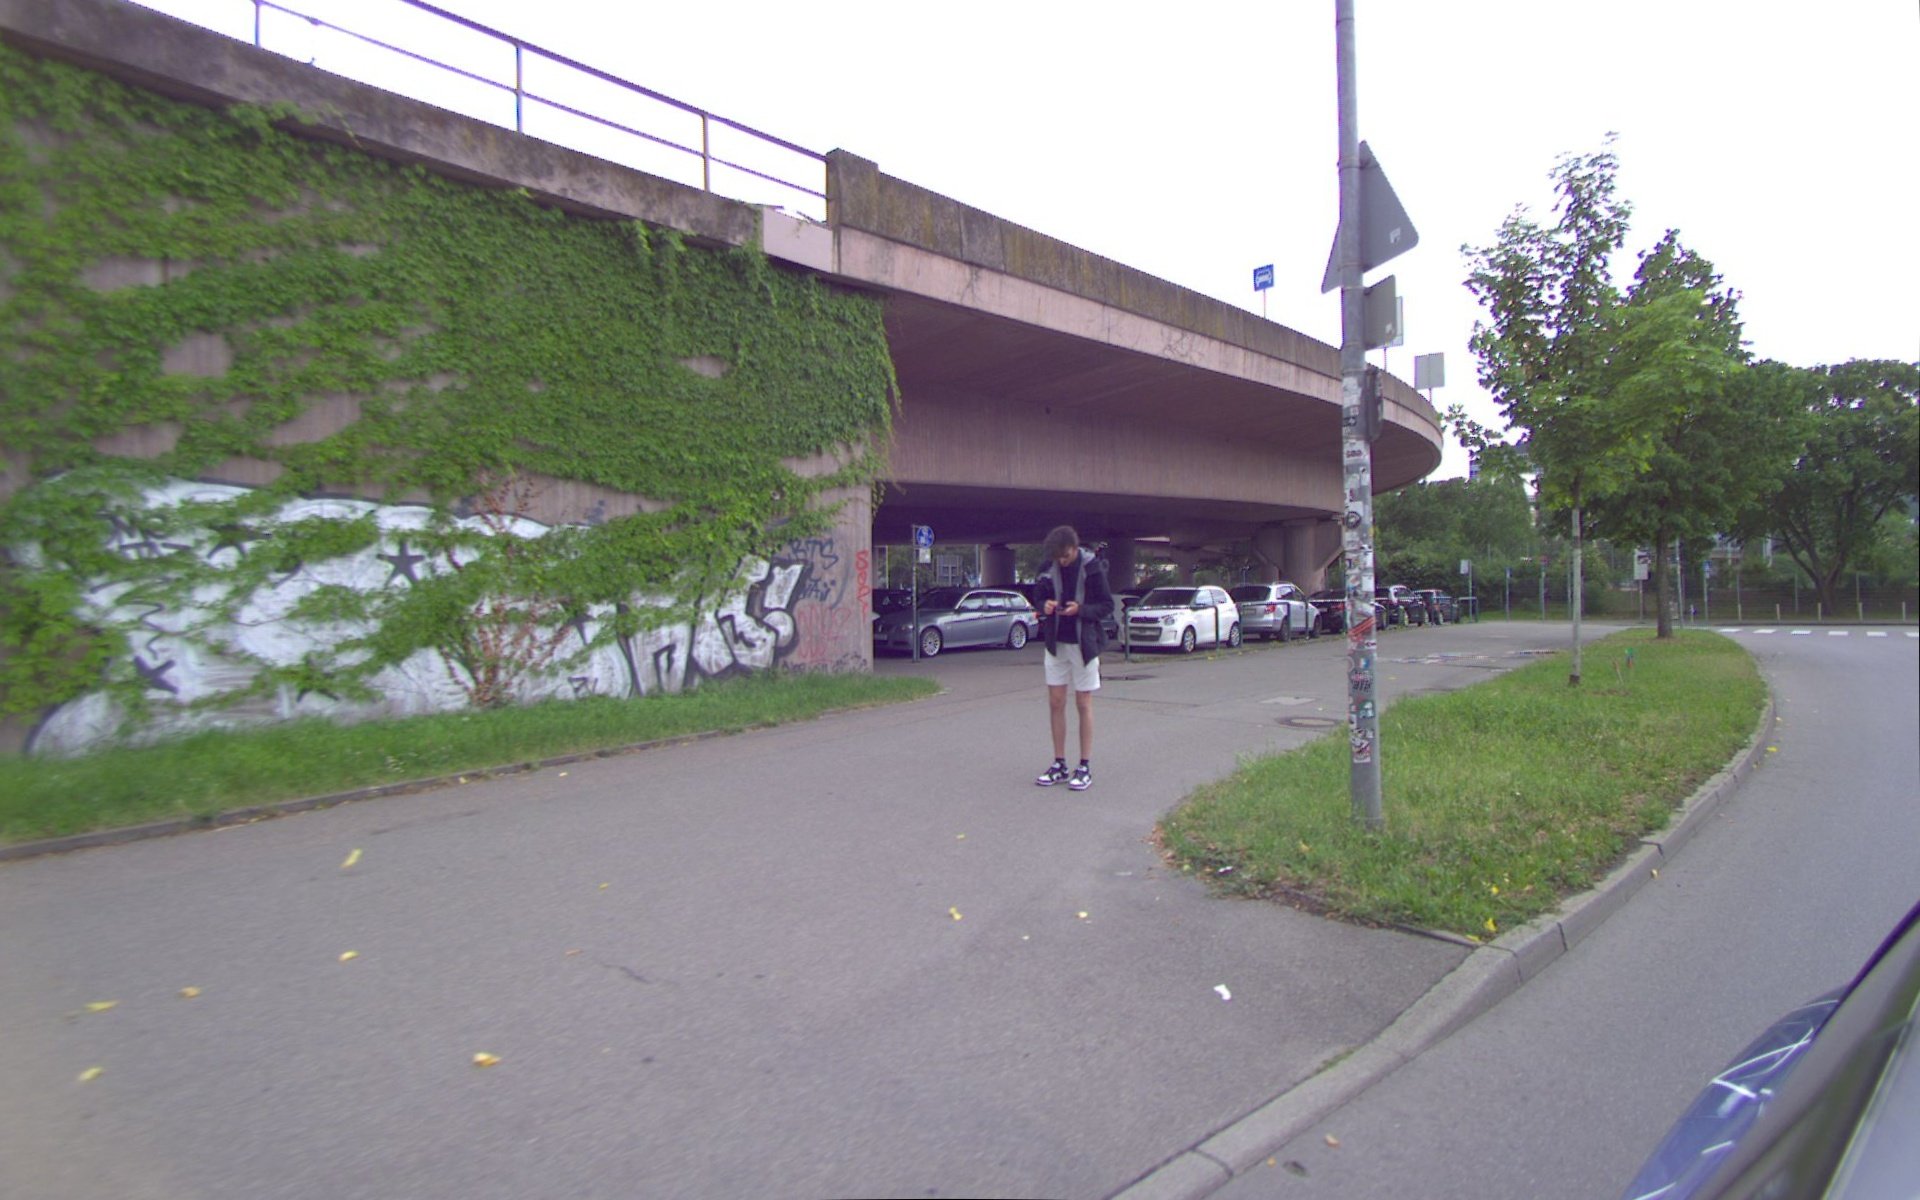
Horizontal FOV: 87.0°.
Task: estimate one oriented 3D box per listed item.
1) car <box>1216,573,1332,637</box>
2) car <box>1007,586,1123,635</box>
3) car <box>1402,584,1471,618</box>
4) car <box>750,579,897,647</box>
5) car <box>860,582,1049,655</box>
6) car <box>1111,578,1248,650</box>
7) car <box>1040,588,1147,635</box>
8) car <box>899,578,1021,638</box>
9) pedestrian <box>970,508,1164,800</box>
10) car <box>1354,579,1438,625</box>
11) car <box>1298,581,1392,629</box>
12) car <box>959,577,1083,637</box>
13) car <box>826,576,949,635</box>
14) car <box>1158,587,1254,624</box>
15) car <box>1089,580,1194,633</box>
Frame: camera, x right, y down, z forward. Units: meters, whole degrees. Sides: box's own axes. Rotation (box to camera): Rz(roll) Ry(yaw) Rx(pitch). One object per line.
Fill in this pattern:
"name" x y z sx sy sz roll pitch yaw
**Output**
"car" 8.367 0.132 26.770 1.607 1.550 3.863 -2 -1 38
"car" 3.148 0.317 30.747 1.527 1.416 3.310 1 -1 -45
"car" 18.572 0.051 39.379 1.619 1.254 4.004 -1 0 38
"car" -3.350 0.327 24.441 3.603 1.522 1.603 0 -2 43
"car" -0.031 0.335 22.661 1.637 1.403 4.404 1 2 44
"car" 4.972 0.272 22.671 1.603 1.463 3.426 -1 1 40
"car" 4.259 0.372 32.646 1.329 1.427 3.310 0 -1 -45
"car" -0.035 0.240 27.595 1.435 1.531 3.312 3 -2 -43
"pedestrian" 0.780 0.335 7.294 0.820 1.903 1.162 2 2 44
"car" 15.195 0.056 35.137 1.618 1.392 4.120 -7 -4 37
"car" 11.908 0.148 31.158 1.619 1.333 3.724 -3 -2 38
"car" 1.713 0.209 29.008 1.641 1.618 3.310 1 -1 -45
"car" -1.928 0.151 26.193 1.387 1.428 3.312 3 -2 -43
"car" 9.132 0.205 37.697 1.329 1.311 3.310 0 0 -45
"car" 6.149 0.230 34.453 1.413 1.709 3.310 0 -1 -45
